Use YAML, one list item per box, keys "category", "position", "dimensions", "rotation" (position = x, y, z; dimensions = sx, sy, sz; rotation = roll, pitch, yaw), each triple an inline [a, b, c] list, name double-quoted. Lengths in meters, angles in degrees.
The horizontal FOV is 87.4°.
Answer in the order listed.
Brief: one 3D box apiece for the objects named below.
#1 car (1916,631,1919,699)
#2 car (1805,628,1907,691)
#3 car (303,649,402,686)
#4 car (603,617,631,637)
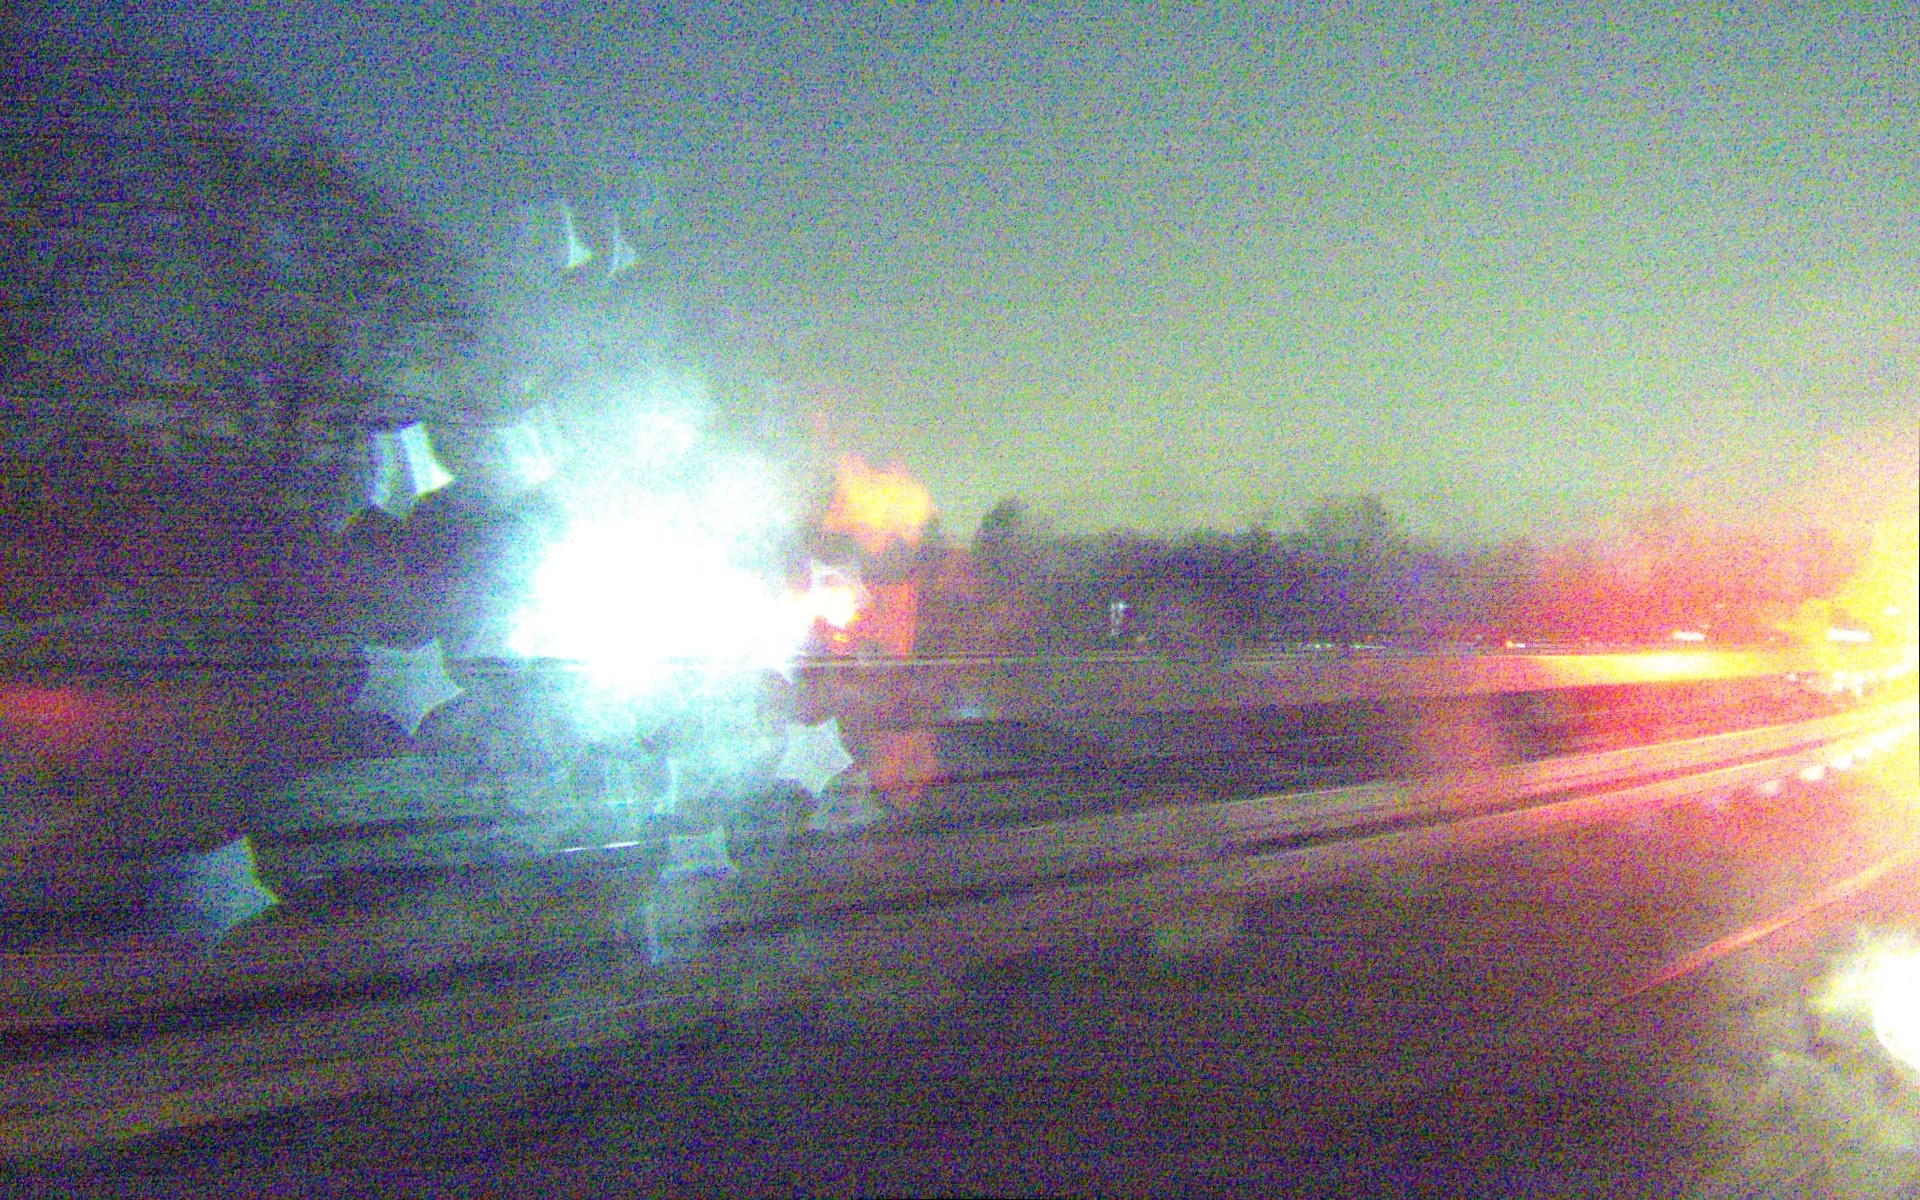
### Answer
- category: "car"
  position: [24.504, 1.655, 24.083]
  dimensions: [1.872, 1.743, 4.028]
  rotation: [2, 0, 38]
- category: "car"
  position: [32.292, 2.078, 36.322]
  dimensions: [1.867, 2.067, 4.039]
  rotation: [2, 0, 29]
- category: "car"
  position: [-32.778, 3.600, 54.307]
  dimensions: [1.886, 1.775, 4.244]
  rotation: [1, -1, 22]
- category: "car"
  position: [-33.281, 2.656, 97.417]
  dimensions: [1.704, 1.786, 3.797]
  rotation: [3, -5, -31]
